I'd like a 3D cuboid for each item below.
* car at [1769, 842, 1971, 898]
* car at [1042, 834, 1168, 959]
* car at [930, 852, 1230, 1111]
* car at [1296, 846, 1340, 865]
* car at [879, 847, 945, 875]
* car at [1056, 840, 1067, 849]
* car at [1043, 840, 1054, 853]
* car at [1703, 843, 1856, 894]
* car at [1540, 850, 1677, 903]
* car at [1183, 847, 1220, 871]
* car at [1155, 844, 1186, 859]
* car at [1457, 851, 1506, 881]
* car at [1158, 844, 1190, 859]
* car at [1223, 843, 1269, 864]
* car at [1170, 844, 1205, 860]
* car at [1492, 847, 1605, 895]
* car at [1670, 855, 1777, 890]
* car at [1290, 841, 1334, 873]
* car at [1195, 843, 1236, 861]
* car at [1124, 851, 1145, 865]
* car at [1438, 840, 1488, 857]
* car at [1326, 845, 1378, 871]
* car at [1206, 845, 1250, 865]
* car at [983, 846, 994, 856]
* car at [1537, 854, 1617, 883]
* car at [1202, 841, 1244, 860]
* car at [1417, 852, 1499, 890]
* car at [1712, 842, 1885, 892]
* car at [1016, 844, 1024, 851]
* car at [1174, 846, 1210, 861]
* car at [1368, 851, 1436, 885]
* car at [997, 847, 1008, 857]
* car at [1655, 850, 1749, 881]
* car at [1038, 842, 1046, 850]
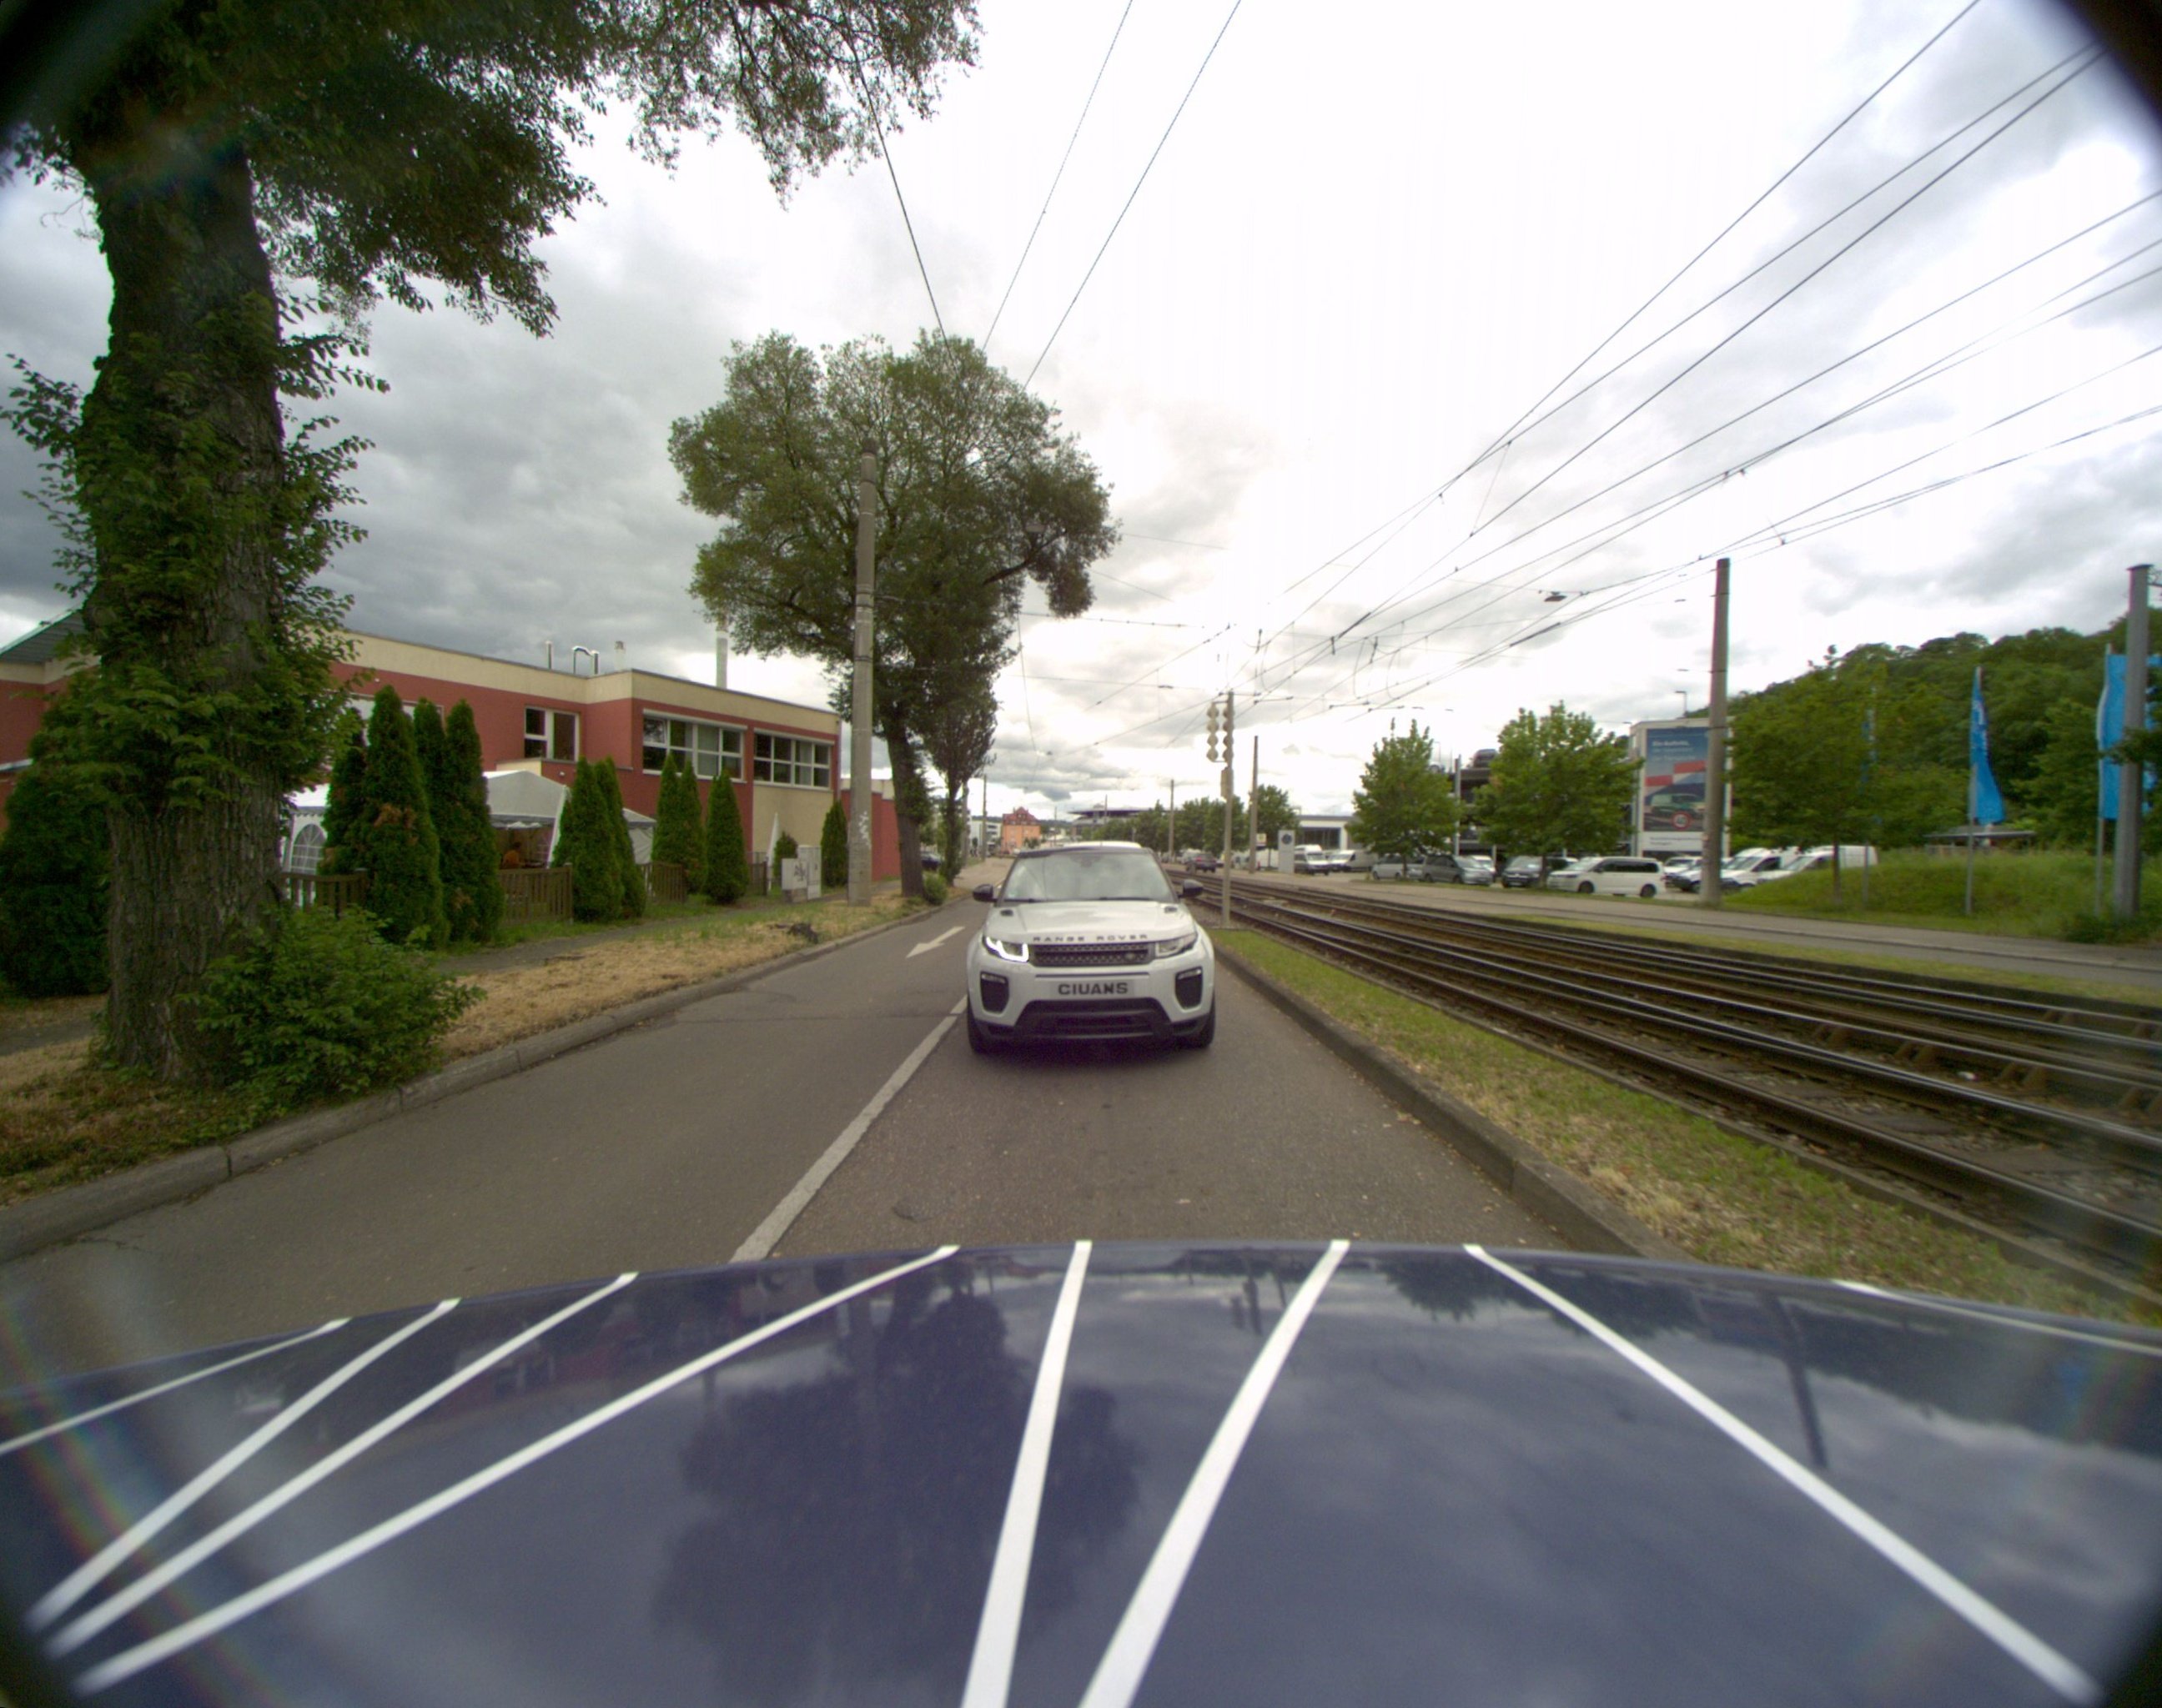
[{"bbox_3d":[34.682,0.724,33.653,5.850,2.254,2.056,-2,1,22],"label":"car"},{"bbox_3d":[0.423,0.649,14.608,1.998,1.990,5.034,0,1,1],"label":"car"},{"bbox_3d":[-0.005,0.852,7.207,1.998,1.680,4.268,0,1,0],"label":"car"},{"bbox_3d":[29.145,0.157,93.548,4.636,2.196,2.108,-2,1,-1],"label":"car"},{"bbox_3d":[-11.174,0.436,50.414,3.999,1.636,1.895,-2,1,-6],"label":"car"},{"bbox_3d":[-4.581,-2.163,179.027,2.000,2.002,3.997,-2,1,-7],"label":"car"},{"bbox_3d":[-7.518,-1.788,177.125,2.410,2.931,4.747,-2,1,-2],"label":"car"},{"bbox_3d":[36.958,0.771,40.387,5.652,2.447,1.982,-2,1,19],"label":"car"},{"bbox_3d":[25.290,1.029,36.530,5.269,2.254,1.999,-2,1,-3],"label":"car"},{"bbox_3d":[9.963,0.412,63.210,1.906,1.708,4.132,4,1,-7],"label":"car"},{"bbox_3d":[14.518,-0.462,123.441,4.639,2.196,2.107,-2,1,-8],"label":"car"},{"bbox_3d":[28.895,0.826,54.936,1.900,1.882,4.600,-2,1,12],"label":"car"},{"bbox_3d":[14.794,-0.430,121.006,4.639,2.196,2.107,-2,1,-8],"label":"car"},{"bbox_3d":[18.776,-0.117,86.609,4.639,2.196,2.107,-2,1,-8],"label":"car"},{"bbox_3d":[15.578,-0.286,111.021,4.639,2.196,2.107,-2,1,-8],"label":"car"},{"bbox_3d":[24.687,0.865,40.204,4.774,2.254,1.979,-2,1,-3],"label":"car"},{"bbox_3d":[36.667,1.038,43.512,4.228,1.826,1.982,-2,1,19],"label":"car"},{"bbox_3d":[22.423,0.230,74.119,2.320,2.994,6.157,-2,1,0],"label":"car"},{"bbox_3d":[17.098,-0.270,96.918,4.639,2.196,2.107,-2,1,-8],"label":"car"},{"bbox_3d":[6.519,0.450,92.851,1.999,1.569,4.176,1,0,-4],"label":"car"},{"bbox_3d":[46.365,-0.655,92.309,5.216,1.826,1.983,-2,1,21],"label":"car"},{"bbox_3d":[30.349,0.465,85.088,6.057,2.608,2.316,-3,2,-34],"label":"car"},{"bbox_3d":[17.724,0.048,91.700,4.639,2.196,2.107,-2,1,-8],"label":"car"},{"bbox_3d":[-18.449,-0.609,152.356,1.906,1.708,4.133,5,2,-5],"label":"car"},{"bbox_3d":[34.414,0.995,52.843,4.228,1.826,1.982,-2,1,19],"label":"car"},{"bbox_3d":[17.518,-0.433,94.133,4.639,2.196,2.107,-2,1,-8],"label":"car"},{"bbox_3d":[22.902,0.979,46.393,2.142,2.104,4.772,-2,1,-7],"label":"car"},{"bbox_3d":[35.094,0.643,37.422,5.839,2.254,2.056,-2,1,22],"label":"car"},{"bbox_3d":[-17.495,-1.868,216.315,2.000,2.002,3.997,-2,1,-7],"label":"car"},{"bbox_3d":[15.785,-0.069,108.624,4.639,1.830,2.107,-2,1,-8],"label":"car"},{"bbox_3d":[22.140,0.910,52.633,2.142,2.104,4.772,-2,1,-8],"label":"car"},{"bbox_3d":[-13.965,-0.378,135.774,1.869,1.740,3.997,-2,1,-5],"label":"car"},{"bbox_3d":[39.885,0.727,48.918,4.228,1.826,1.982,-2,1,19],"label":"car"},{"bbox_3d":[-10.571,-2.246,205.586,2.000,2.002,3.997,-2,1,-7],"label":"car"}]
